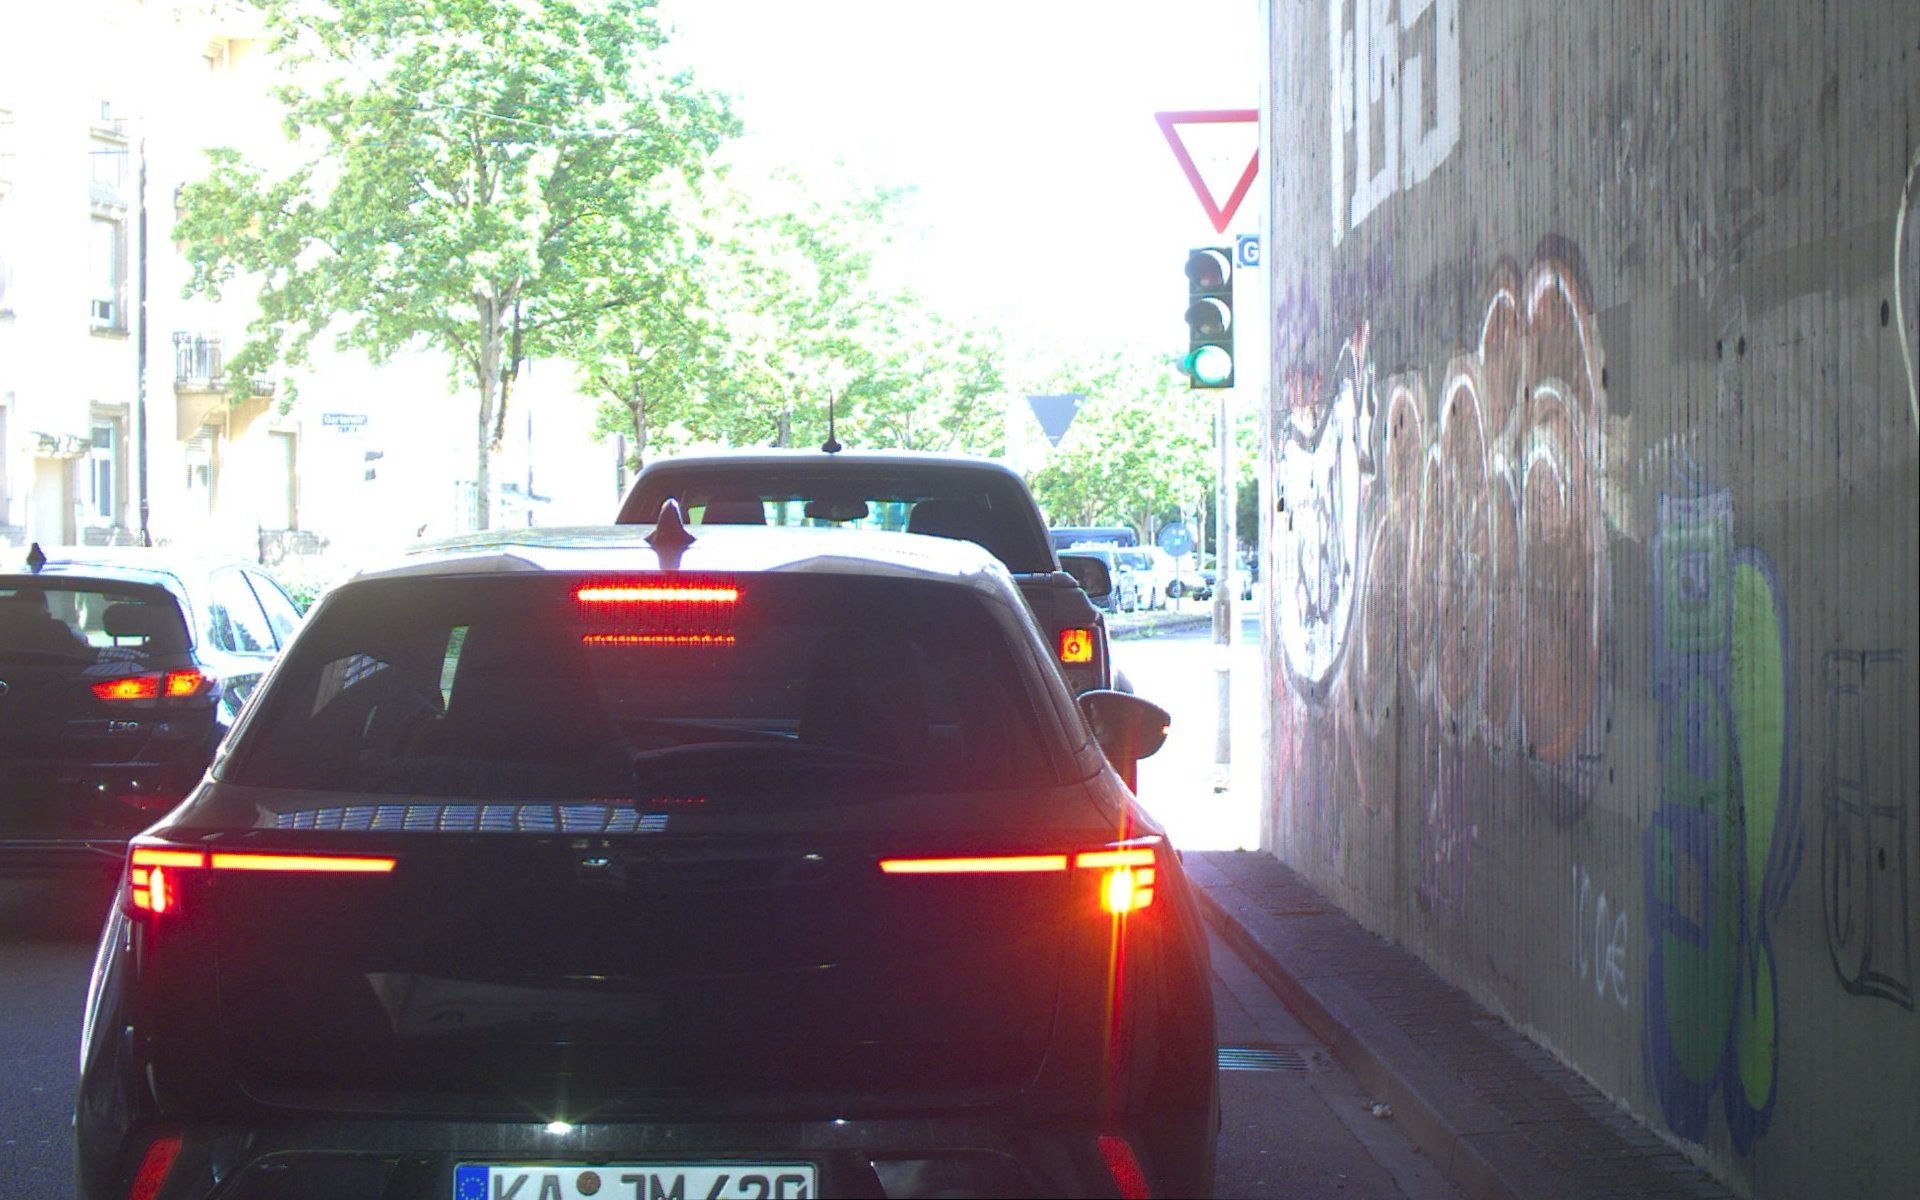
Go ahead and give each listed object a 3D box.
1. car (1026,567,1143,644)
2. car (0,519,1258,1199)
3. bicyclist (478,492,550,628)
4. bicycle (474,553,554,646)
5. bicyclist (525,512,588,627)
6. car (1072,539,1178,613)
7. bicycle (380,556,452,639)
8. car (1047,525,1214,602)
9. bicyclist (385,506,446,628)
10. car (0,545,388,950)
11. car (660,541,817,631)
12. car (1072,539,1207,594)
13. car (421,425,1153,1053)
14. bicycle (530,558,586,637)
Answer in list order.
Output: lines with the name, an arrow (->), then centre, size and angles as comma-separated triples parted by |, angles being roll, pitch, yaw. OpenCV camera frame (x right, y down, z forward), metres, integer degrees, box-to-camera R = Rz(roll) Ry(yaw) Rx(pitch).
car -> 2.514, 0.094, 68.578 | 1.708, 1.447, 3.849 | 0, 1, 12
car -> -0.503, 0.616, 6.664 | 1.781, 1.512, 3.756 | 0, 1, -1
bicyclist -> -5.694, -0.518, 43.950 | 0.745, 1.705, 0.967 | 0, 3, 2
bicycle -> -5.697, -0.022, 43.993 | 0.698, 1.086, 1.860 | 0, 3, 3
bicyclist -> -5.889, -0.453, 50.207 | 0.782, 1.654, 1.031 | 0, 1, 1
car -> 3.629, -0.545, 75.027 | 1.705, 1.507, 3.861 | -2, 1, 11
bicycle -> -7.335, -0.050, 46.415 | 0.525, 1.086, 1.860 | 0, 1, 5
car -> 5.750, -1.228, 116.163 | 5.259, 2.537, 1.986 | -1, 0, -15
bicyclist -> -7.356, -0.454, 46.465 | 0.606, 1.627, 0.910 | 0, 1, 5
car -> -3.593, 0.498, 14.533 | 1.801, 1.446, 4.327 | 0, 1, -2
car -> -3.675, -0.253, 57.457 | 1.658, 1.436, 3.461 | 0, 1, 14
car -> 7.004, -1.317, 133.944 | 4.883, 2.076, 1.986 | -1, 0, -25
car -> -0.517, 0.362, 12.545 | 2.133, 1.829, 4.941 | 0, 1, 0
bicycle -> -5.865, -0.048, 50.233 | 0.541, 1.119, 2.058 | 0, 1, 1
